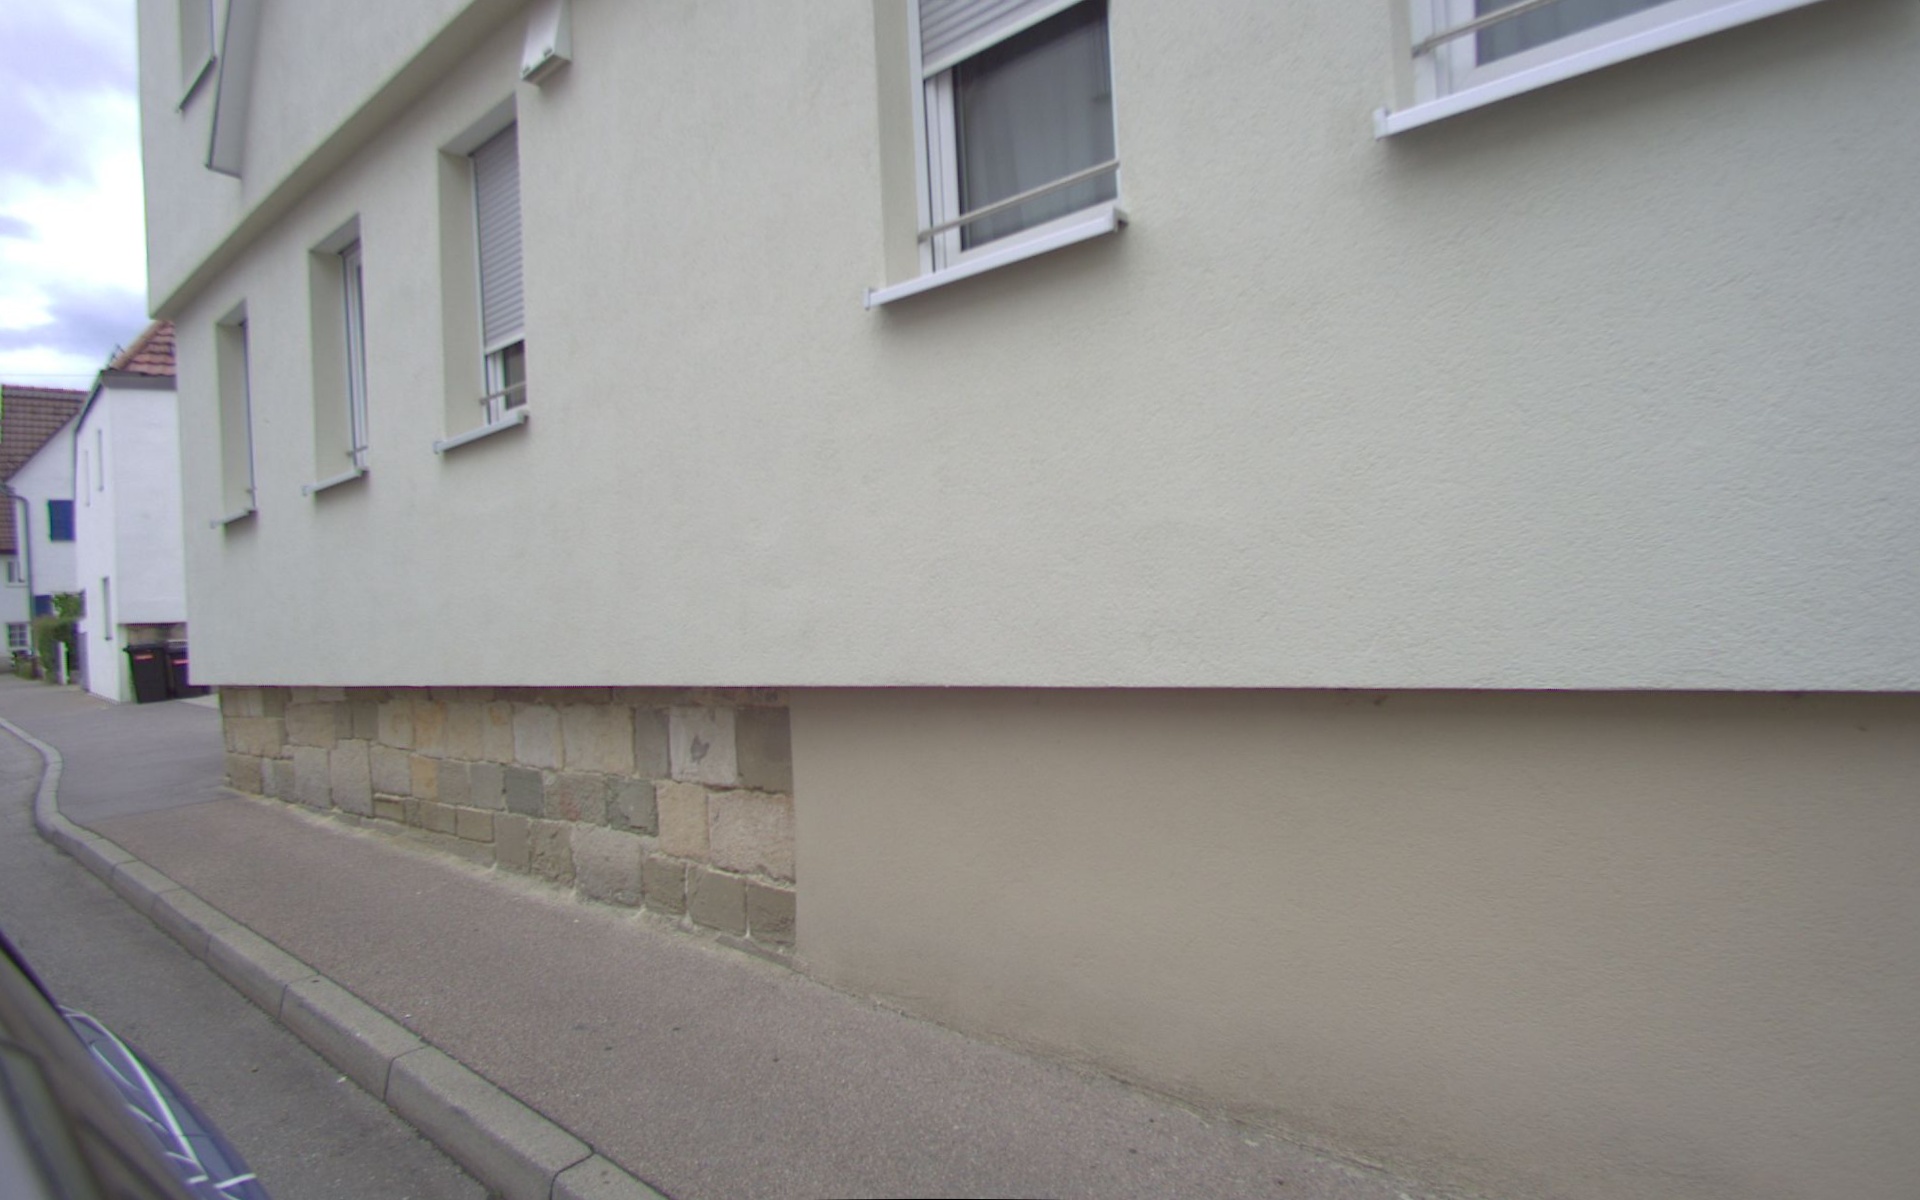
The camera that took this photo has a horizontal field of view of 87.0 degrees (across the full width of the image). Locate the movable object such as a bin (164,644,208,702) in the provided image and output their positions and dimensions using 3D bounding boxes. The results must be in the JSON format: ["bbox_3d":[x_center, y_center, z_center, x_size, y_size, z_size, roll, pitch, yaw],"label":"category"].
[{"bbox_3d":[-13.711,1.278,17.940,0.491,0.941,0.626,-5,1,-32],"label":"movable object such as a bin"}]

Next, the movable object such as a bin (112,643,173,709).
[{"bbox_3d":[-14.235,1.313,17.636,0.631,1.039,0.797,-5,1,-30],"label":"movable object such as a bin"}]

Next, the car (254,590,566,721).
[{"bbox_3d":[-7.825,0.711,14.597,1.632,1.360,3.549,-2,4,44],"label":"car"}]
